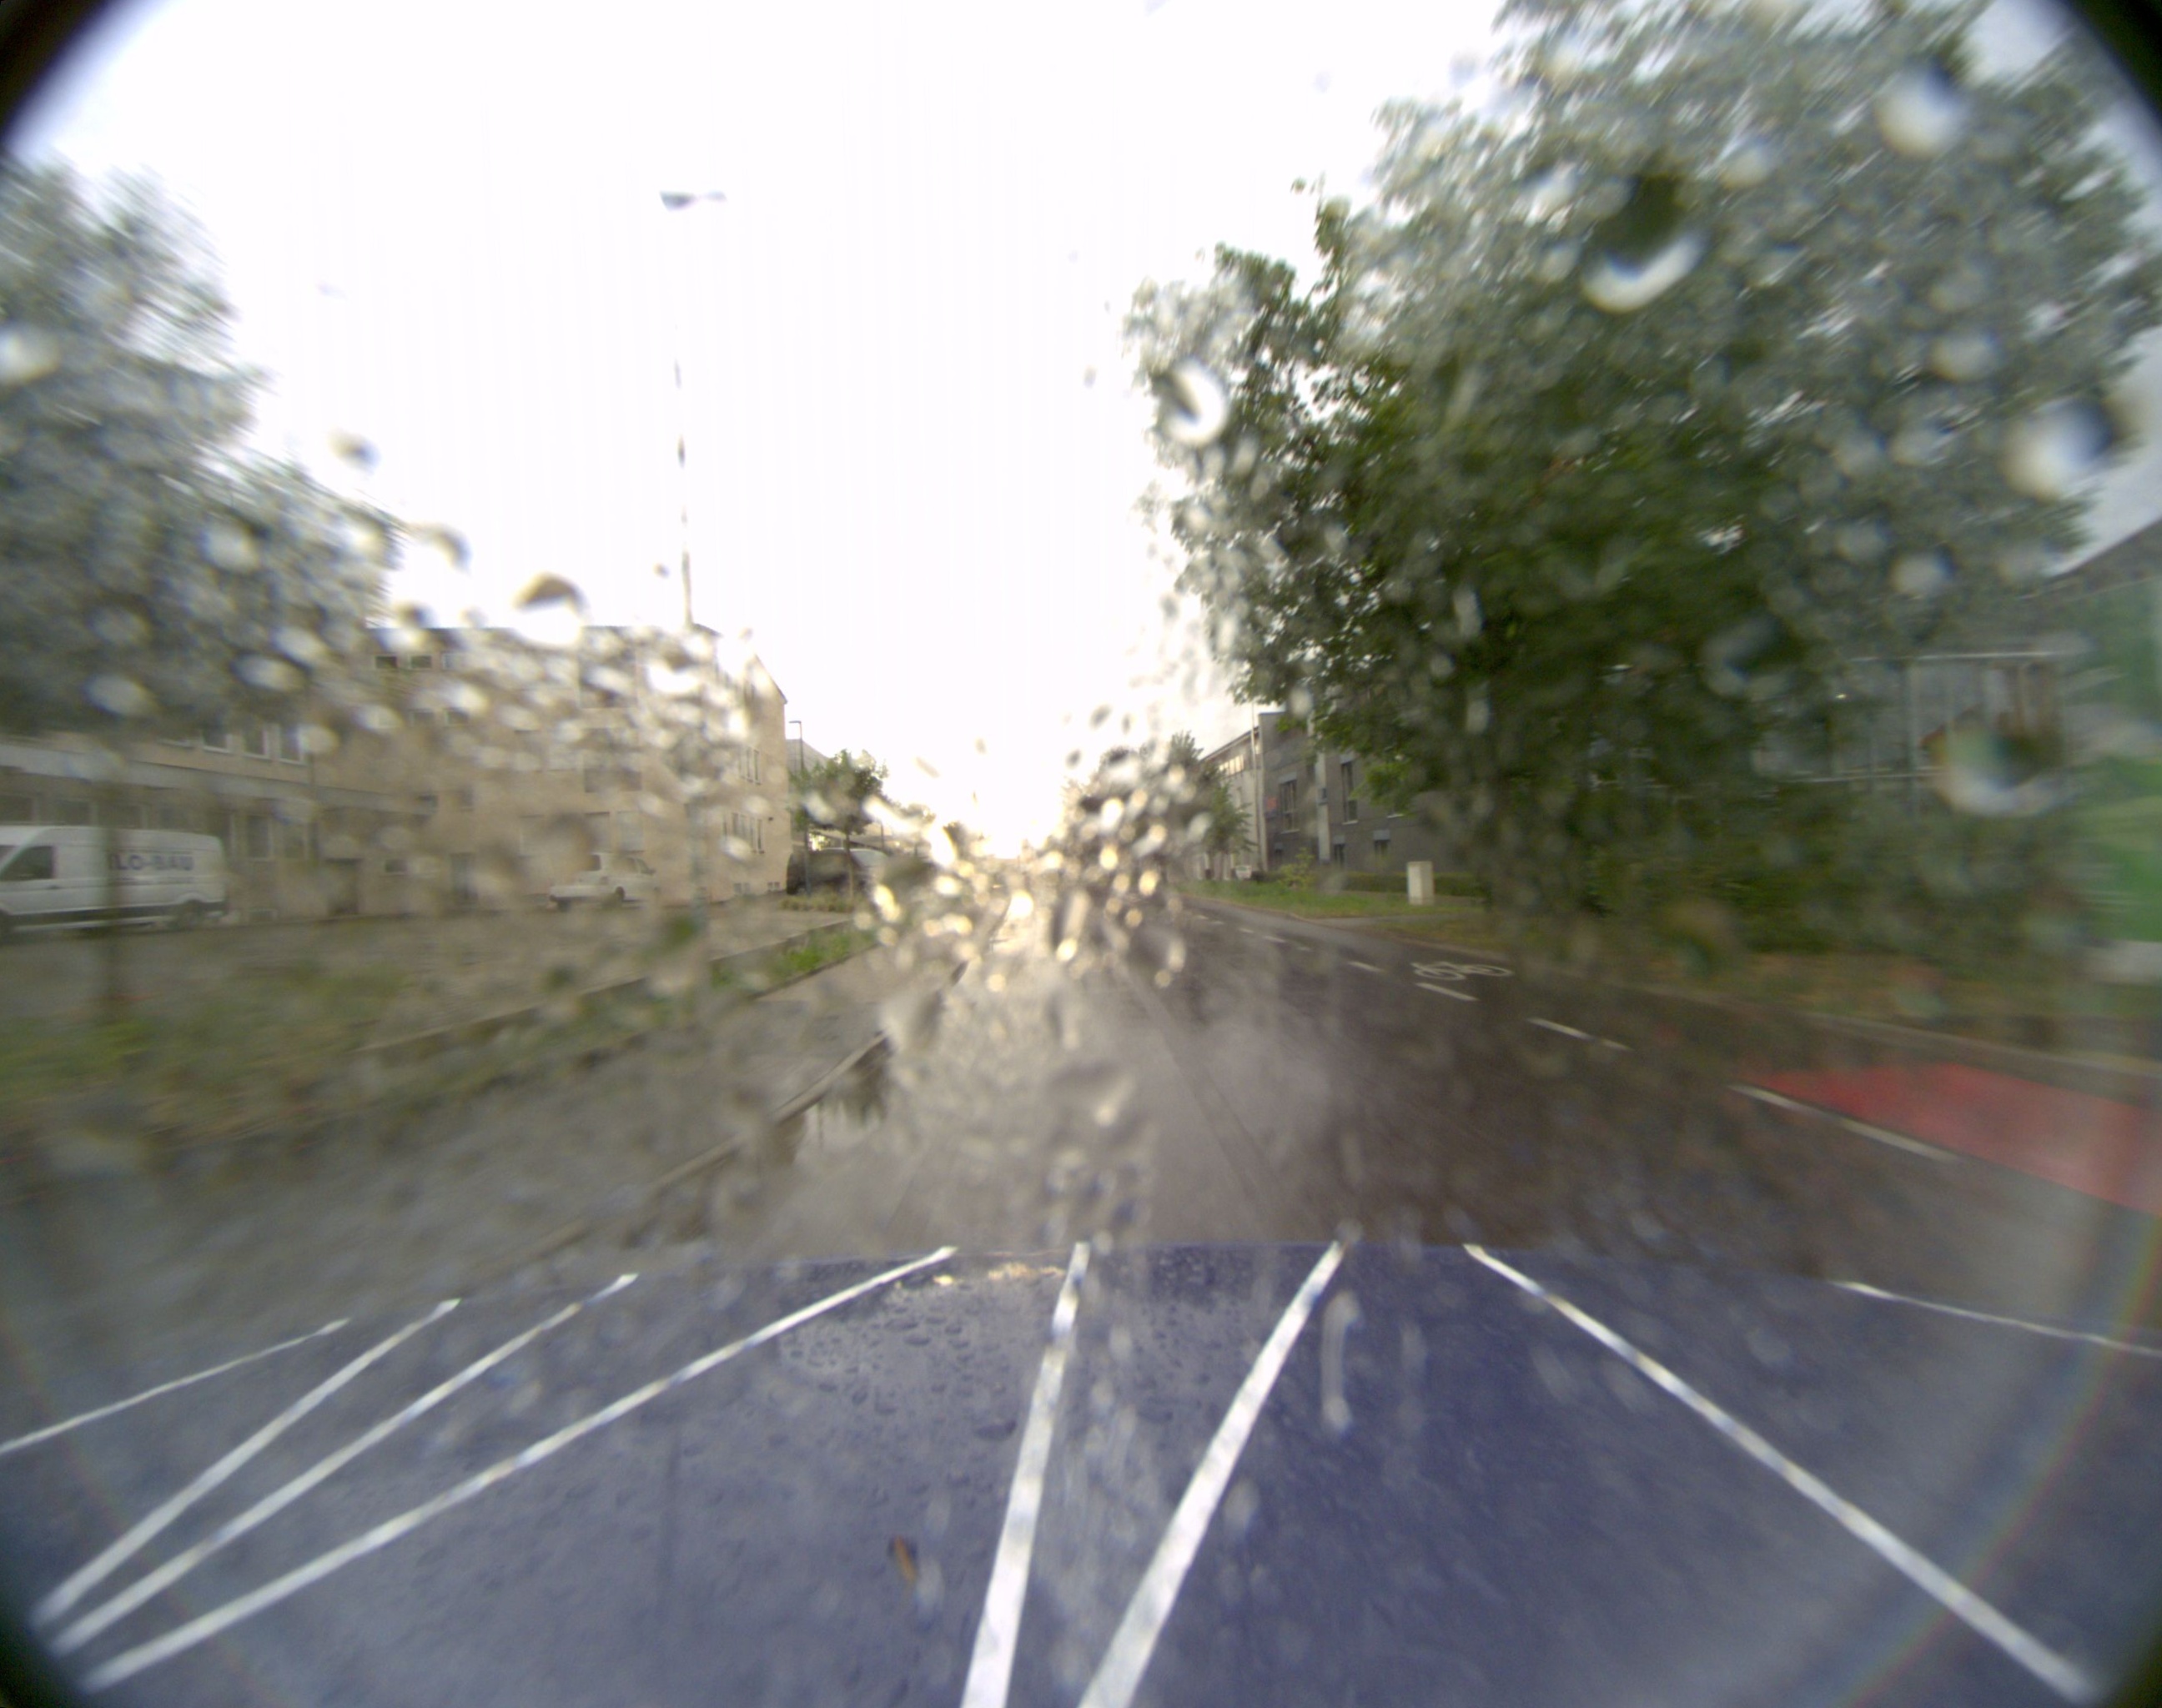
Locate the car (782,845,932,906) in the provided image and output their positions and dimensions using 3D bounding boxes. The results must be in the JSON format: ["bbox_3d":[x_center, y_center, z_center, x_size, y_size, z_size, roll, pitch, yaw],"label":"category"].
[{"bbox_3d":[-7.756,0.708,26.183,5.102,1.908,2.057,-1,0,33],"label":"car"}]

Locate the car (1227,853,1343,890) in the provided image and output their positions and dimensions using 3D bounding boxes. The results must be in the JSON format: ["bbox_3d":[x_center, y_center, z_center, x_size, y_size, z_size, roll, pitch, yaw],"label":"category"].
[{"bbox_3d":[7.719,0.646,28.940,3.911,1.276,1.581,-2,0,-4],"label":"car"}]

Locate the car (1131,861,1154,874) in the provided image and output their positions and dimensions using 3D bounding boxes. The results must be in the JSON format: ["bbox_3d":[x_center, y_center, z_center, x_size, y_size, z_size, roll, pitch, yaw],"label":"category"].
[{"bbox_3d":[9.745,2.173,121.073,2.040,1.811,5.605,-4,-2,-12],"label":"car"}]

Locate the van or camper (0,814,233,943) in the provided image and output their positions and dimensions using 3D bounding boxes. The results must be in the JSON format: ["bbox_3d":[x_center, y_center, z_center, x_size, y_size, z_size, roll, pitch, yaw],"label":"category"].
[{"bbox_3d":[-22.800,0.623,16.803,2.001,2.521,6.598,-4,-1,-15],"label":"van or camper"}]

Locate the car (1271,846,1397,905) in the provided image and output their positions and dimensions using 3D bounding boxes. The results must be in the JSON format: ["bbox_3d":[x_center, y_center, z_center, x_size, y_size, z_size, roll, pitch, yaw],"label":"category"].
[{"bbox_3d":[6.736,0.545,20.333,2.916,1.447,1.252,-2,2,-4],"label":"car"}]

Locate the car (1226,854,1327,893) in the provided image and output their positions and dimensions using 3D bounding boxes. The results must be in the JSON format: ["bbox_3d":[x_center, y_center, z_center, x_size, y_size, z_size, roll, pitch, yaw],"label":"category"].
[{"bbox_3d":[6.470,0.632,25.331,2.916,1.152,1.471,-2,0,-4],"label":"car"}]

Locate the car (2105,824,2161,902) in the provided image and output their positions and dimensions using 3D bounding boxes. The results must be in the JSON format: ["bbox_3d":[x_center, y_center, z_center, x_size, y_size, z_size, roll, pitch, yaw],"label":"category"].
[{"bbox_3d":[26.891,0.148,17.352,4.563,1.780,2.046,-1,0,-4],"label":"car"}]

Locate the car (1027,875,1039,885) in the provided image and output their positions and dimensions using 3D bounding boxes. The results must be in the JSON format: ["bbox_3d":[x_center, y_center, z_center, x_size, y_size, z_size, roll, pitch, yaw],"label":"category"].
[{"bbox_3d":[-7.976,4.356,126.449,1.856,1.545,4.501,-4,-2,-5],"label":"car"}]

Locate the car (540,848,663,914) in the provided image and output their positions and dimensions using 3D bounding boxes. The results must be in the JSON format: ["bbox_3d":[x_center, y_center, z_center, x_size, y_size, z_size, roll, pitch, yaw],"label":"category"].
[{"bbox_3d":[-16.727,0.957,26.798,1.799,2.001,4.599,-4,-2,-8],"label":"car"}]
